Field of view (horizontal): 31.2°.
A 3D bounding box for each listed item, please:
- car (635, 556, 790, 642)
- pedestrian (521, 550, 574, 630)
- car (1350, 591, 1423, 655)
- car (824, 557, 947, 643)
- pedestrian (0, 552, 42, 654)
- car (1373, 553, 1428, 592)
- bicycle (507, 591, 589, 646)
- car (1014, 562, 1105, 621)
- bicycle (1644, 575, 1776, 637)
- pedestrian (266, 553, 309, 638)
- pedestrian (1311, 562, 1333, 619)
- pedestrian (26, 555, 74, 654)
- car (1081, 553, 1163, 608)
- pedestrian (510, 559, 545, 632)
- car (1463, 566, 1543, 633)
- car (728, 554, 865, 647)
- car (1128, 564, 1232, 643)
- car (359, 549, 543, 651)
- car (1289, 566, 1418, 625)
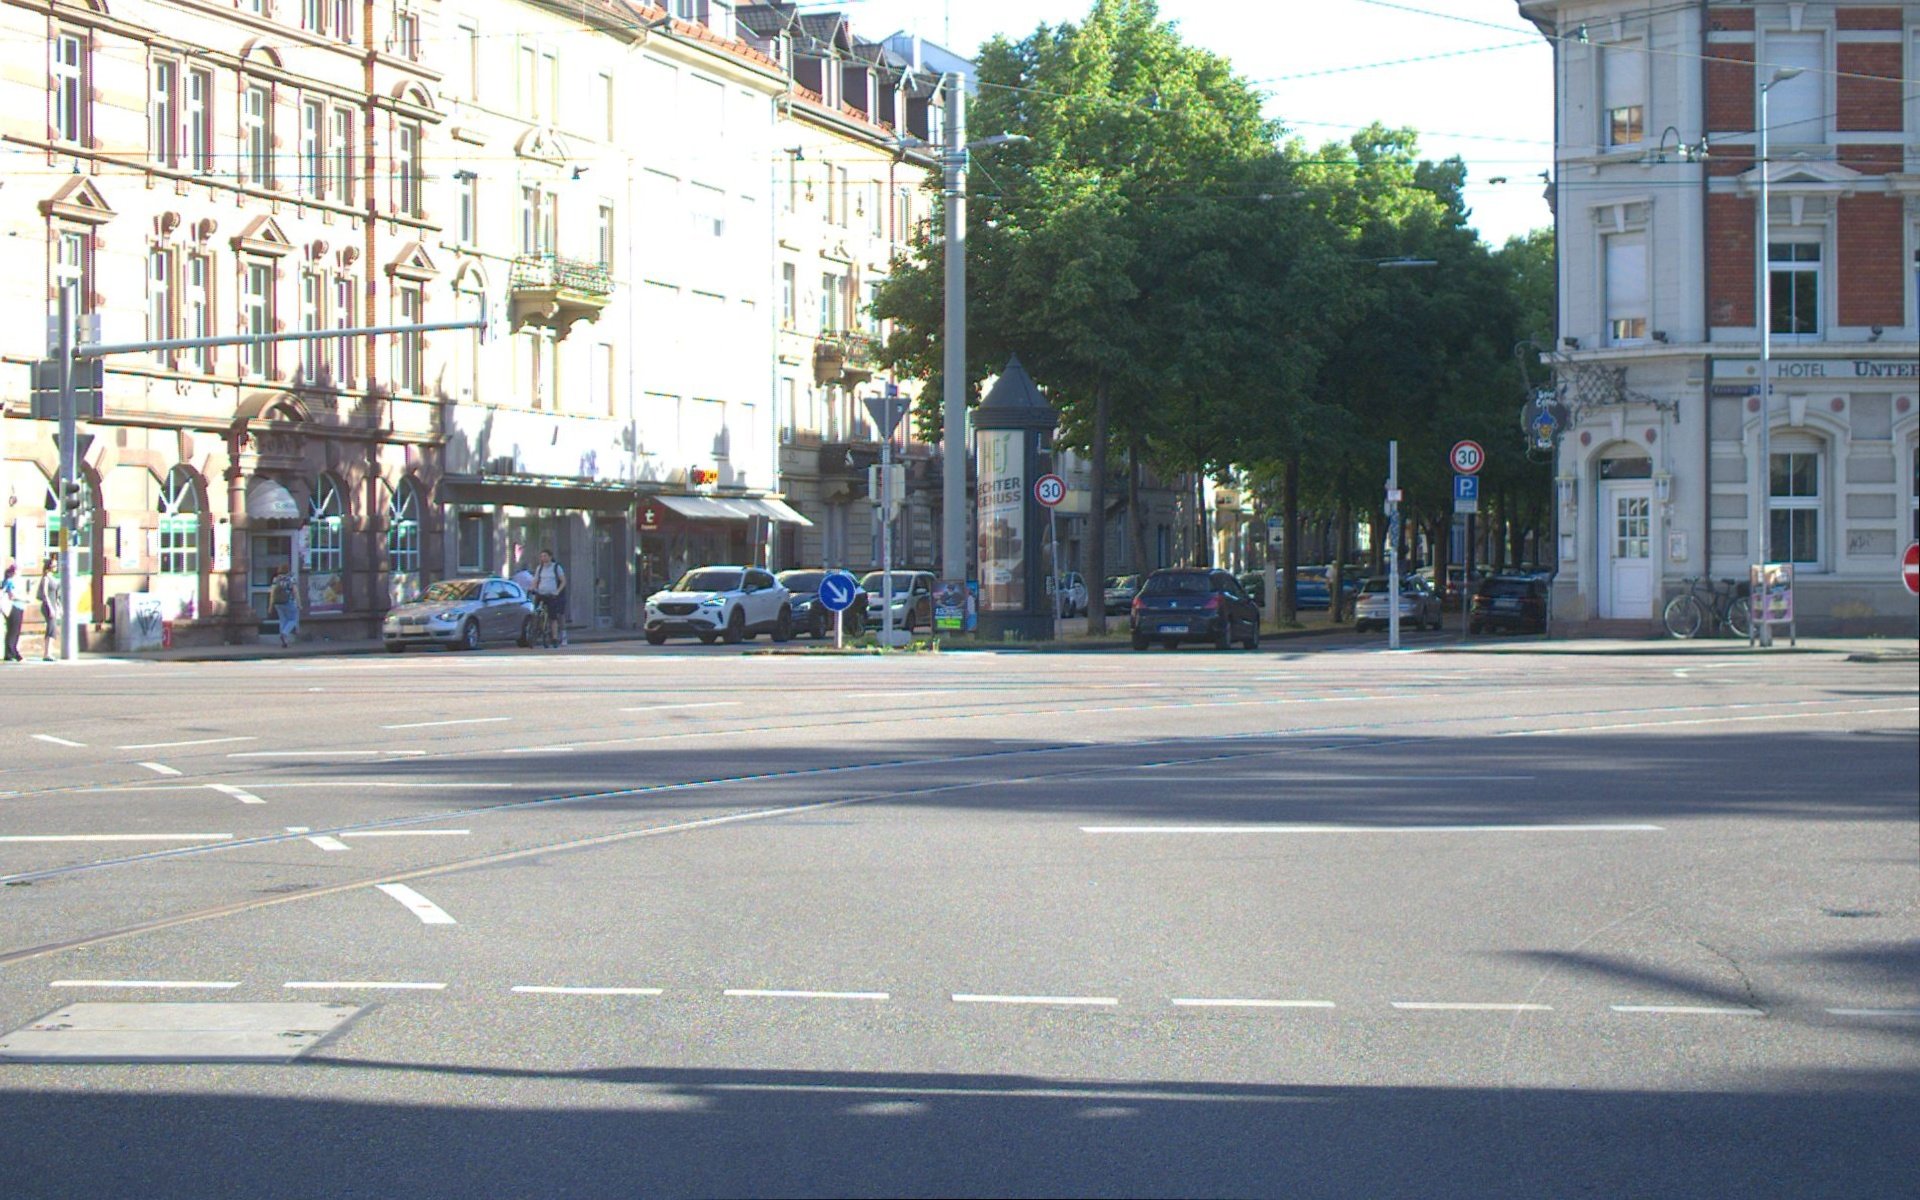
[{"bbox_3d":[-4.803,-0.037,67.200,1.994,1.612,3.998,1,1,11],"label":"car"},{"bbox_3d":[-7.829,-0.192,65.216,0.821,1.507,0.598,1,0,15],"label":"pedestrian"},{"bbox_3d":[10.777,0.559,87.077,1.772,1.525,3.999,1,1,6],"label":"car"},{"bbox_3d":[-1.687,-0.020,79.502,1.994,1.897,3.998,1,1,11],"label":"car"},{"bbox_3d":[-15.333,0.043,55.914,0.633,1.628,0.701,1,0,-4],"label":"pedestrian"},{"bbox_3d":[17.267,-1.078,134.675,1.560,1.508,3.653,1,1,17],"label":"car"},{"bbox_3d":[-7.815,0.335,65.296,0.763,1.004,2.395,1,1,13],"label":"bicycle"},{"bbox_3d":[3.280,-0.286,112.712,1.995,1.897,3.997,1,1,17],"label":"car"},{"bbox_3d":[12.451,0.096,57.101,2.049,0.994,0.630,1,0,3],"label":"bicycle"},{"bbox_3d":[-13.030,-0.093,66.610,0.544,1.626,0.706,1,0,13],"label":"pedestrian"},{"bbox_3d":[11.459,-0.289,108.780,0.640,1.790,0.490,1,0,12],"label":"pedestrian"},{"bbox_3d":[-15.134,0.074,57.193,0.633,1.628,0.701,1,0,-4],"label":"pedestrian"},{"bbox_3d":[5.798,-0.696,122.632,1.995,1.897,3.997,1,1,17],"label":"car"},{"bbox_3d":[-9.685,-0.108,76.970,0.544,1.626,0.706,1,0,13],"label":"pedestrian"},{"bbox_3d":[13.067,-0.026,82.601,1.692,1.559,3.839,1,1,11],"label":"car"},{"bbox_3d":[-3.470,-0.008,73.686,1.994,1.897,3.998,1,1,11],"label":"car"},{"bbox_3d":[4.024,0.046,62.550,1.754,1.357,3.855,1,1,5],"label":"car"},{"bbox_3d":[-9.890,-0.008,67.091,1.995,1.897,3.997,1,1,17],"label":"car"},{"bbox_3d":[13.160,-0.172,114.983,3.990,1.897,1.998,1,1,16],"label":"car"}]
